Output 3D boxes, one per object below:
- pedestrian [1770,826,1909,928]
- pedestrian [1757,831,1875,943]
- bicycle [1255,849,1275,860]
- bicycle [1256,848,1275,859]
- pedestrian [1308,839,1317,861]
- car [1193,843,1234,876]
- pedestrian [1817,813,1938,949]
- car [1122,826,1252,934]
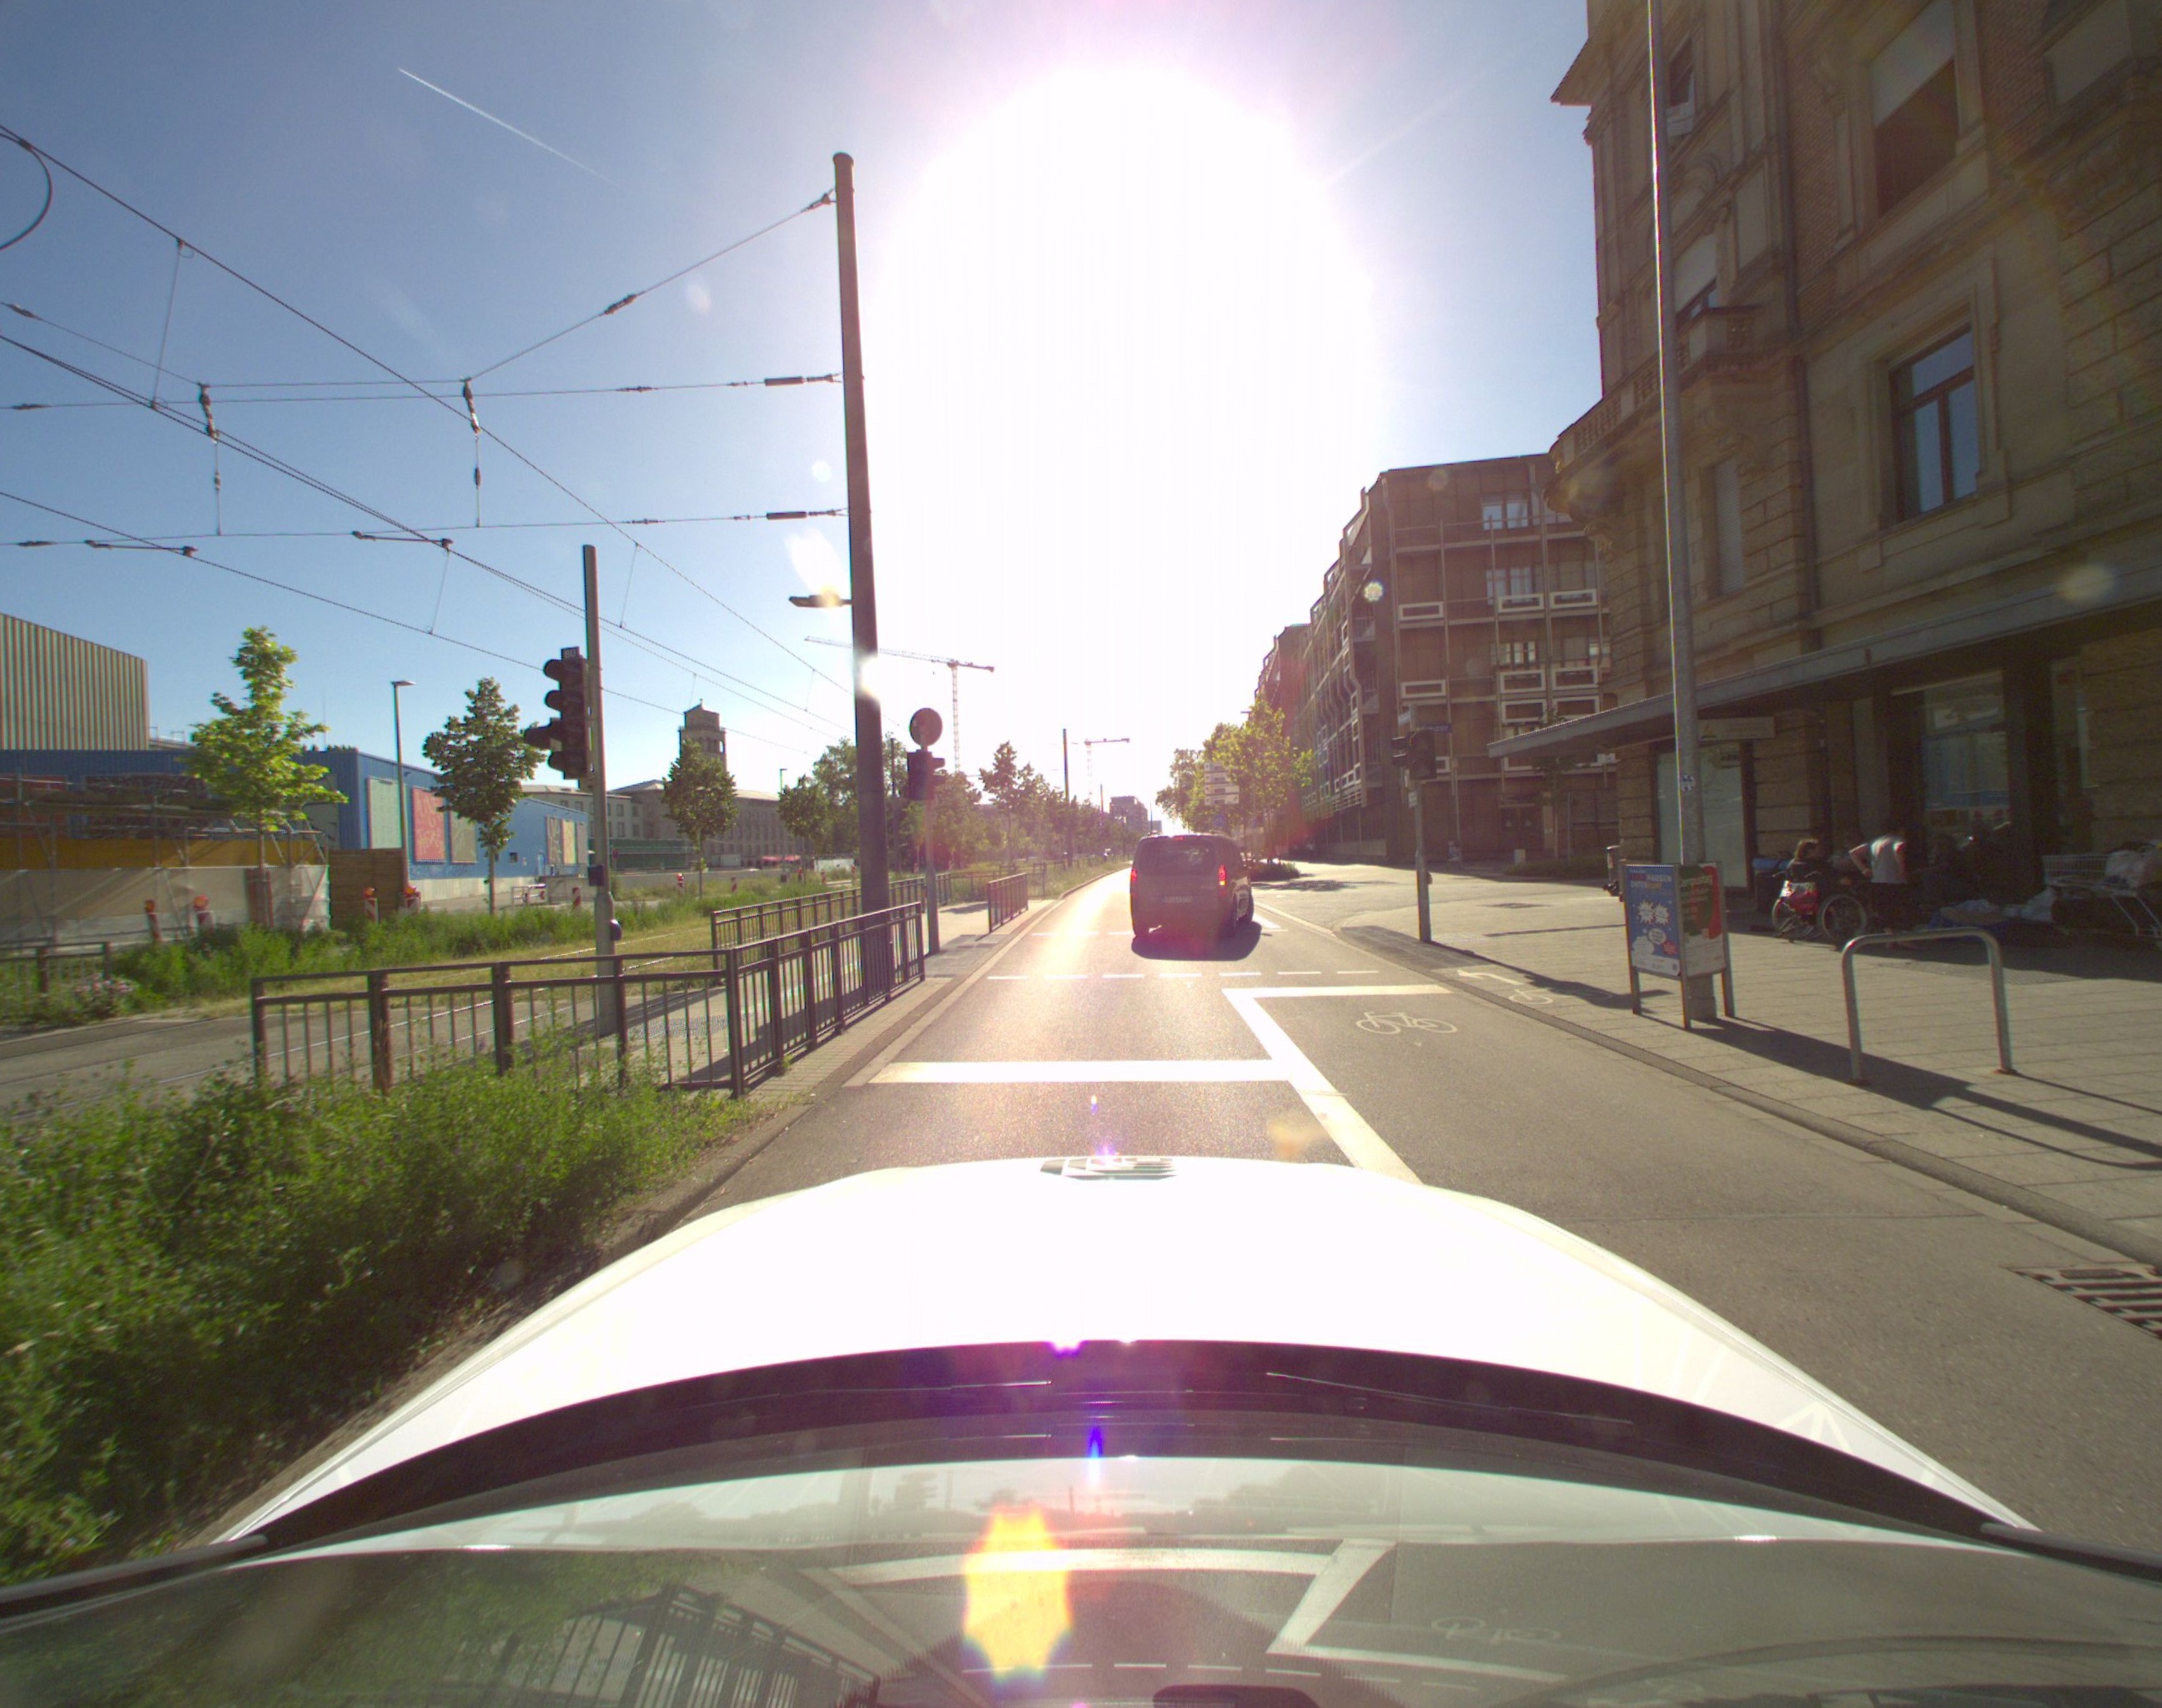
[{"bbox_3d":[9.927,0.296,10.689,1.068,1.218,0.703,-4,-1,0],"label":"pedestrian"},{"bbox_3d":[8.577,0.374,9.534,0.713,1.218,0.648,-4,-1,6],"label":"pedestrian"},{"bbox_3d":[18.669,0.054,82.704,1.846,1.011,0.428,-5,-1,10],"label":"bicycle"},{"bbox_3d":[18.491,-0.012,81.574,1.846,0.939,0.428,-5,-1,10],"label":"bicycle"},{"bbox_3d":[17.955,-0.297,63.181,0.508,1.622,0.675,-5,-1,9],"label":"pedestrian"},{"bbox_3d":[7.412,0.303,45.839,1.740,1.659,4.474,-2,0,3],"label":"car"},{"bbox_3d":[8.654,0.284,8.871,0.571,1.394,0.648,-4,-1,-1],"label":"pedestrian"},{"bbox_3d":[2.180,0.435,15.628,1.798,1.752,4.185,-3,0,16],"label":"car"}]
